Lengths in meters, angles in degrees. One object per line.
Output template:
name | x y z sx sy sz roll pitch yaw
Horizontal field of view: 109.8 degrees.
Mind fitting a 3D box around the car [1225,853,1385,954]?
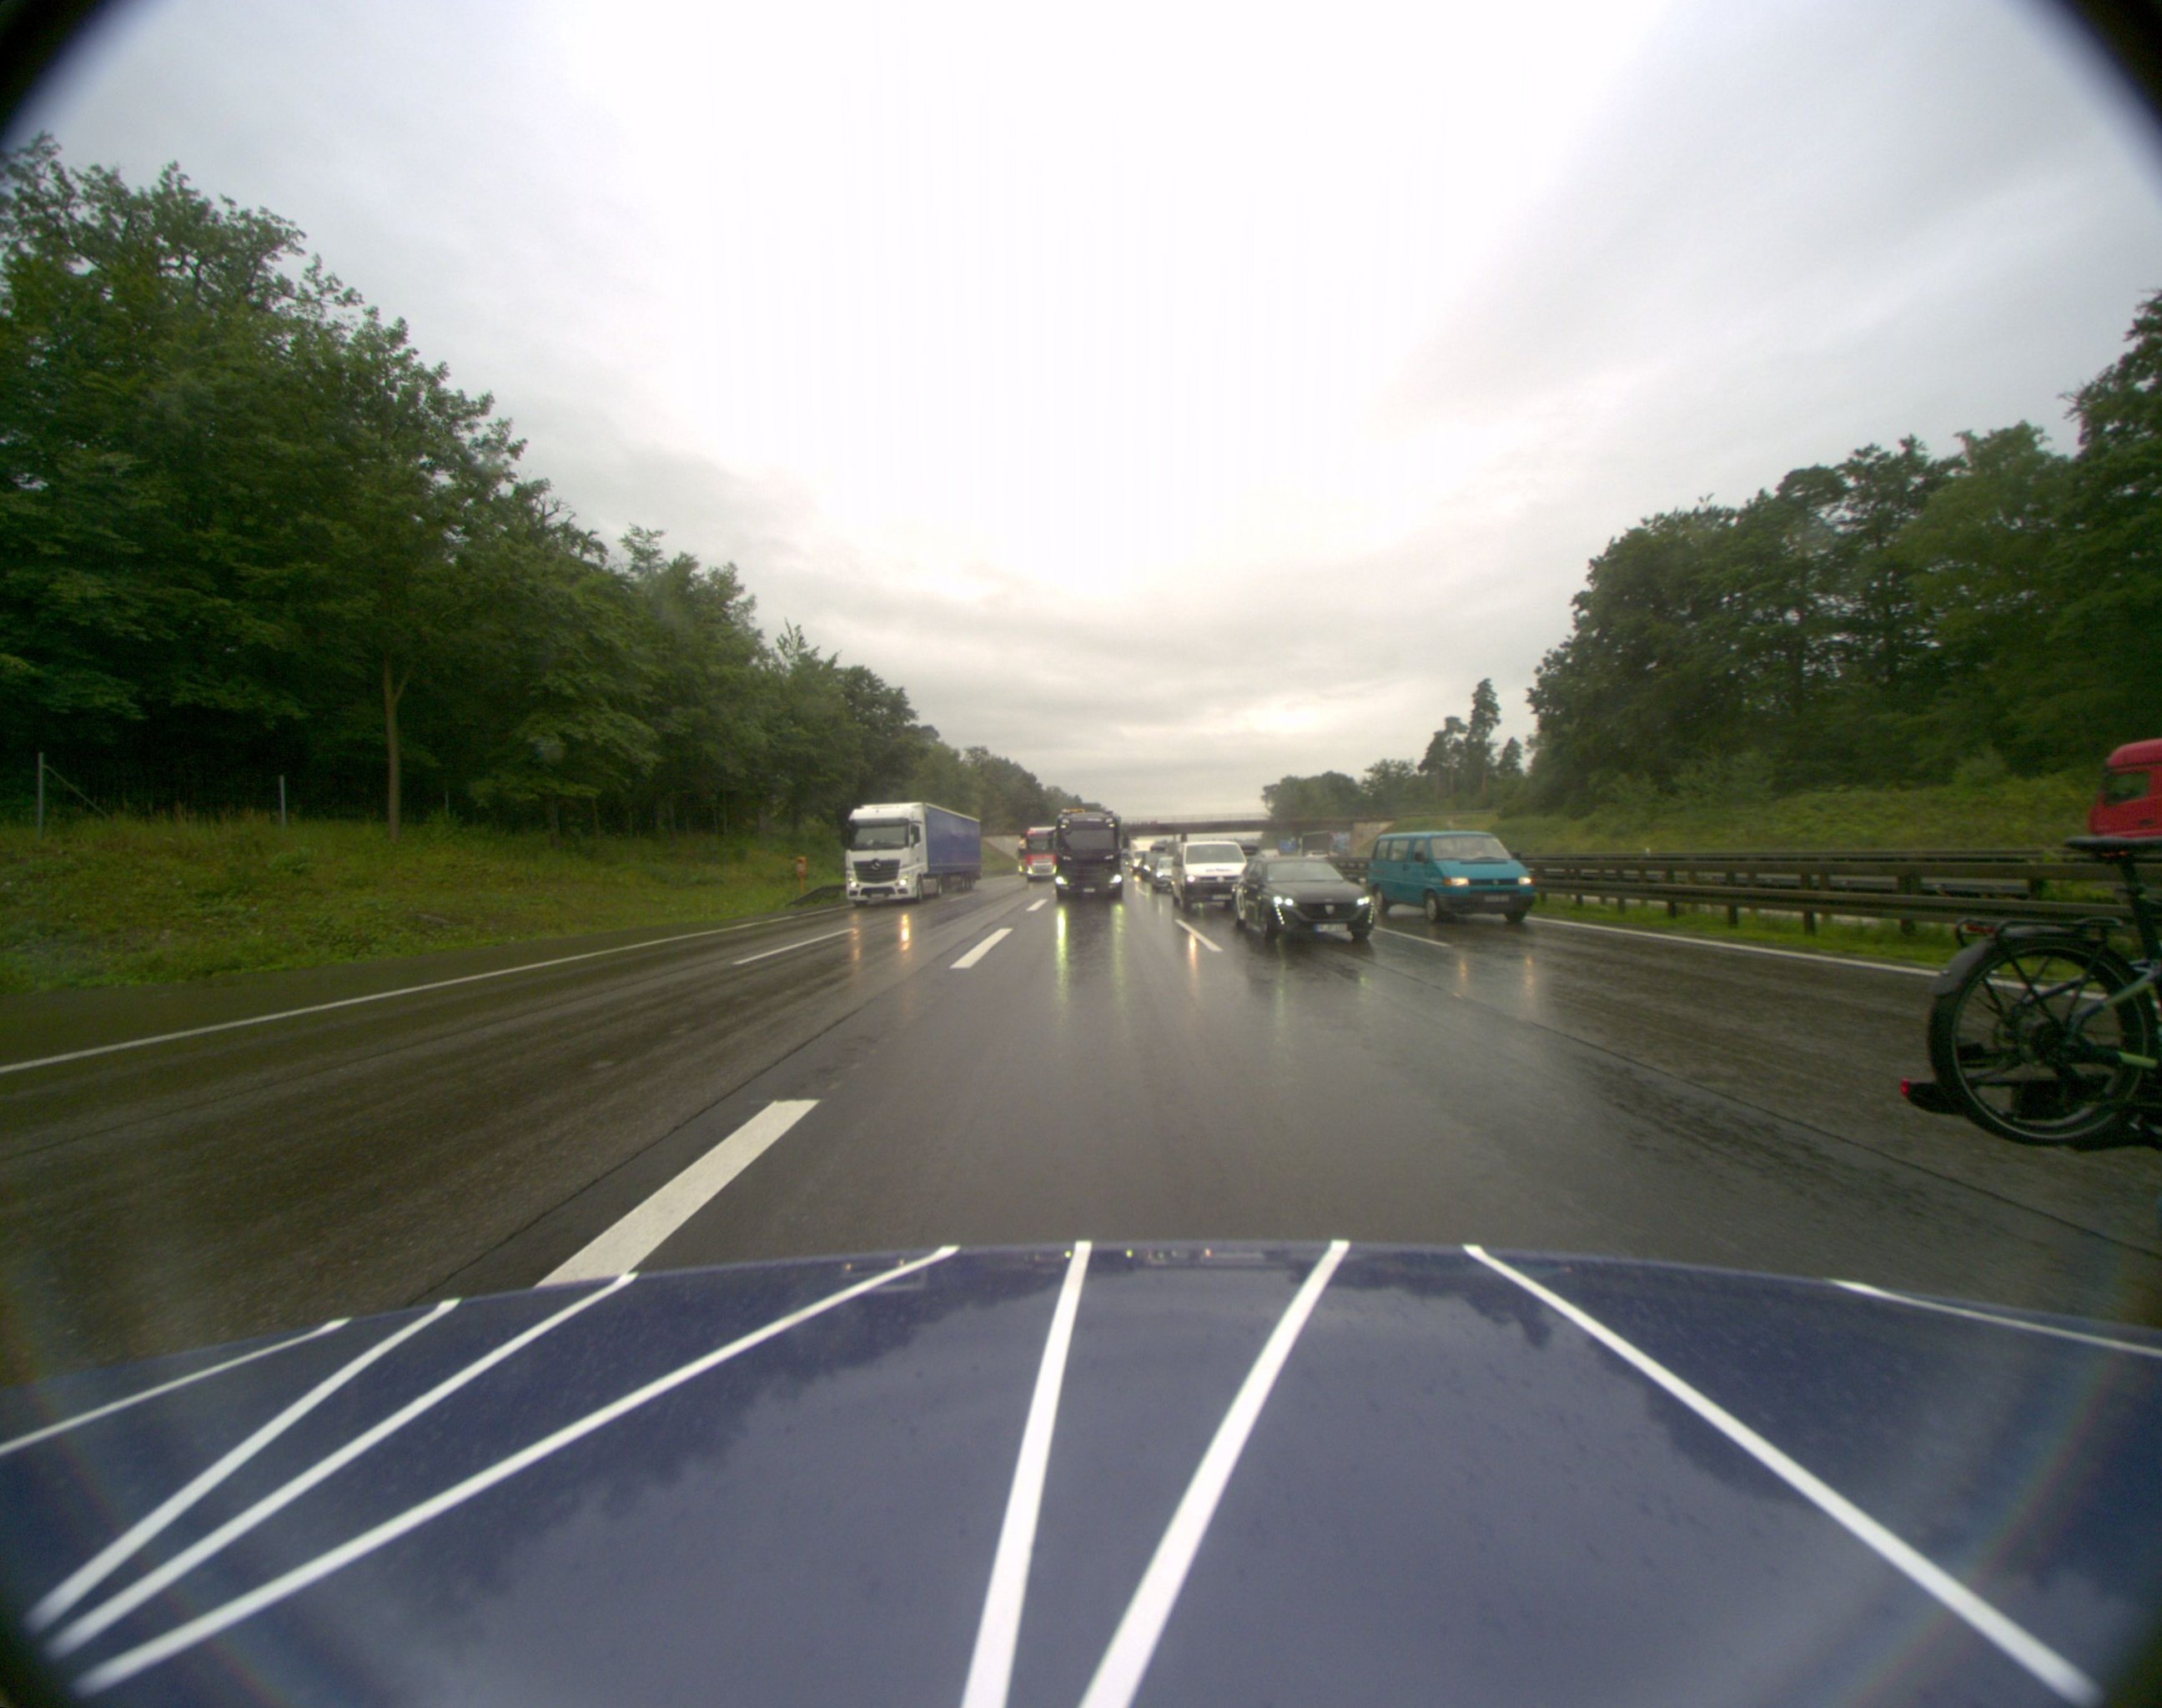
car | 3.970 0.793 14.280 1.850 1.496 4.467 -3 0 3

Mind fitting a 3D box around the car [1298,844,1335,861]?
car | 21.739 -0.129 70.369 1.998 1.498 4.708 -1 0 1

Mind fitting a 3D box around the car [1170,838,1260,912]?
car | 3.785 0.561 22.313 1.994 1.869 4.768 -2 0 3

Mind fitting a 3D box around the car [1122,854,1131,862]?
car | 10.206 0.894 171.975 1.864 1.554 4.436 -2 0 1

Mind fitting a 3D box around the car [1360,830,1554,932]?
car | 7.942 0.502 16.648 1.915 1.852 4.759 -2 0 1

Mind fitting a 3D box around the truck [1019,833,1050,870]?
truck | -5.258 -0.266 87.319 2.608 3.934 9.939 -2 0 1

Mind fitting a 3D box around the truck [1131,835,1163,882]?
truck | 5.877 0.409 68.604 2.520 3.941 6.996 -2 0 3

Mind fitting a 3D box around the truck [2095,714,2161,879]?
truck | 27.099 -1.377 16.840 2.710 3.931 4.891 -1 0 1

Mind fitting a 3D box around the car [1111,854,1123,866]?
car | 6.437 1.101 137.362 1.998 2.002 4.000 -2 0 2

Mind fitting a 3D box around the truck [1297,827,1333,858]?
truck | 30.835 -1.459 100.467 3.027 3.795 6.265 -2 0 3

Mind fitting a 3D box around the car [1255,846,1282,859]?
car | 22.599 -0.110 91.608 1.999 1.498 4.707 -1 0 -1

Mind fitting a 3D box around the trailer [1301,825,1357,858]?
trailer | 30.590 -1.435 94.530 3.031 3.795 13.562 -2 0 2

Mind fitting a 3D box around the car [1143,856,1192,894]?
car | 3.790 0.899 33.952 1.850 1.496 4.467 -2 0 3

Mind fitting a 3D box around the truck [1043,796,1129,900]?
truck | 0.509 -0.267 32.066 2.879 3.528 10.913 -2 1 4

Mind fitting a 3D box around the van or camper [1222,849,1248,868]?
van or camper | 20.182 0.583 99.837 2.233 2.408 5.701 -2 0 2

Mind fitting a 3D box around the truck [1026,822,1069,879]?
truck | -2.419 -0.290 56.701 2.607 3.934 5.601 -2 0 3

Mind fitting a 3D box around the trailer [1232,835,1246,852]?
trailer | 38.667 -2.529 186.356 2.688 3.795 9.011 -2 0 7

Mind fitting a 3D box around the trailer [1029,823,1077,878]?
trailer | -2.114 -0.319 63.096 2.607 3.934 14.583 -2 0 3

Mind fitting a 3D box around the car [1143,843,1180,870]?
car | 5.124 0.156 48.915 1.994 1.551 4.768 -2 0 3

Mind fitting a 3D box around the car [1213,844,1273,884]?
car | 8.039 0.443 38.074 1.982 1.814 4.606 -2 0 0

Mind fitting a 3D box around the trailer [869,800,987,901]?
trailer | -7.031 -0.167 37.635 2.560 3.990 13.714 -2 0 2

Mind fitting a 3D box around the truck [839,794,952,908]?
truck | -7.298 -0.129 30.760 2.607 3.990 6.013 -3 0 2
